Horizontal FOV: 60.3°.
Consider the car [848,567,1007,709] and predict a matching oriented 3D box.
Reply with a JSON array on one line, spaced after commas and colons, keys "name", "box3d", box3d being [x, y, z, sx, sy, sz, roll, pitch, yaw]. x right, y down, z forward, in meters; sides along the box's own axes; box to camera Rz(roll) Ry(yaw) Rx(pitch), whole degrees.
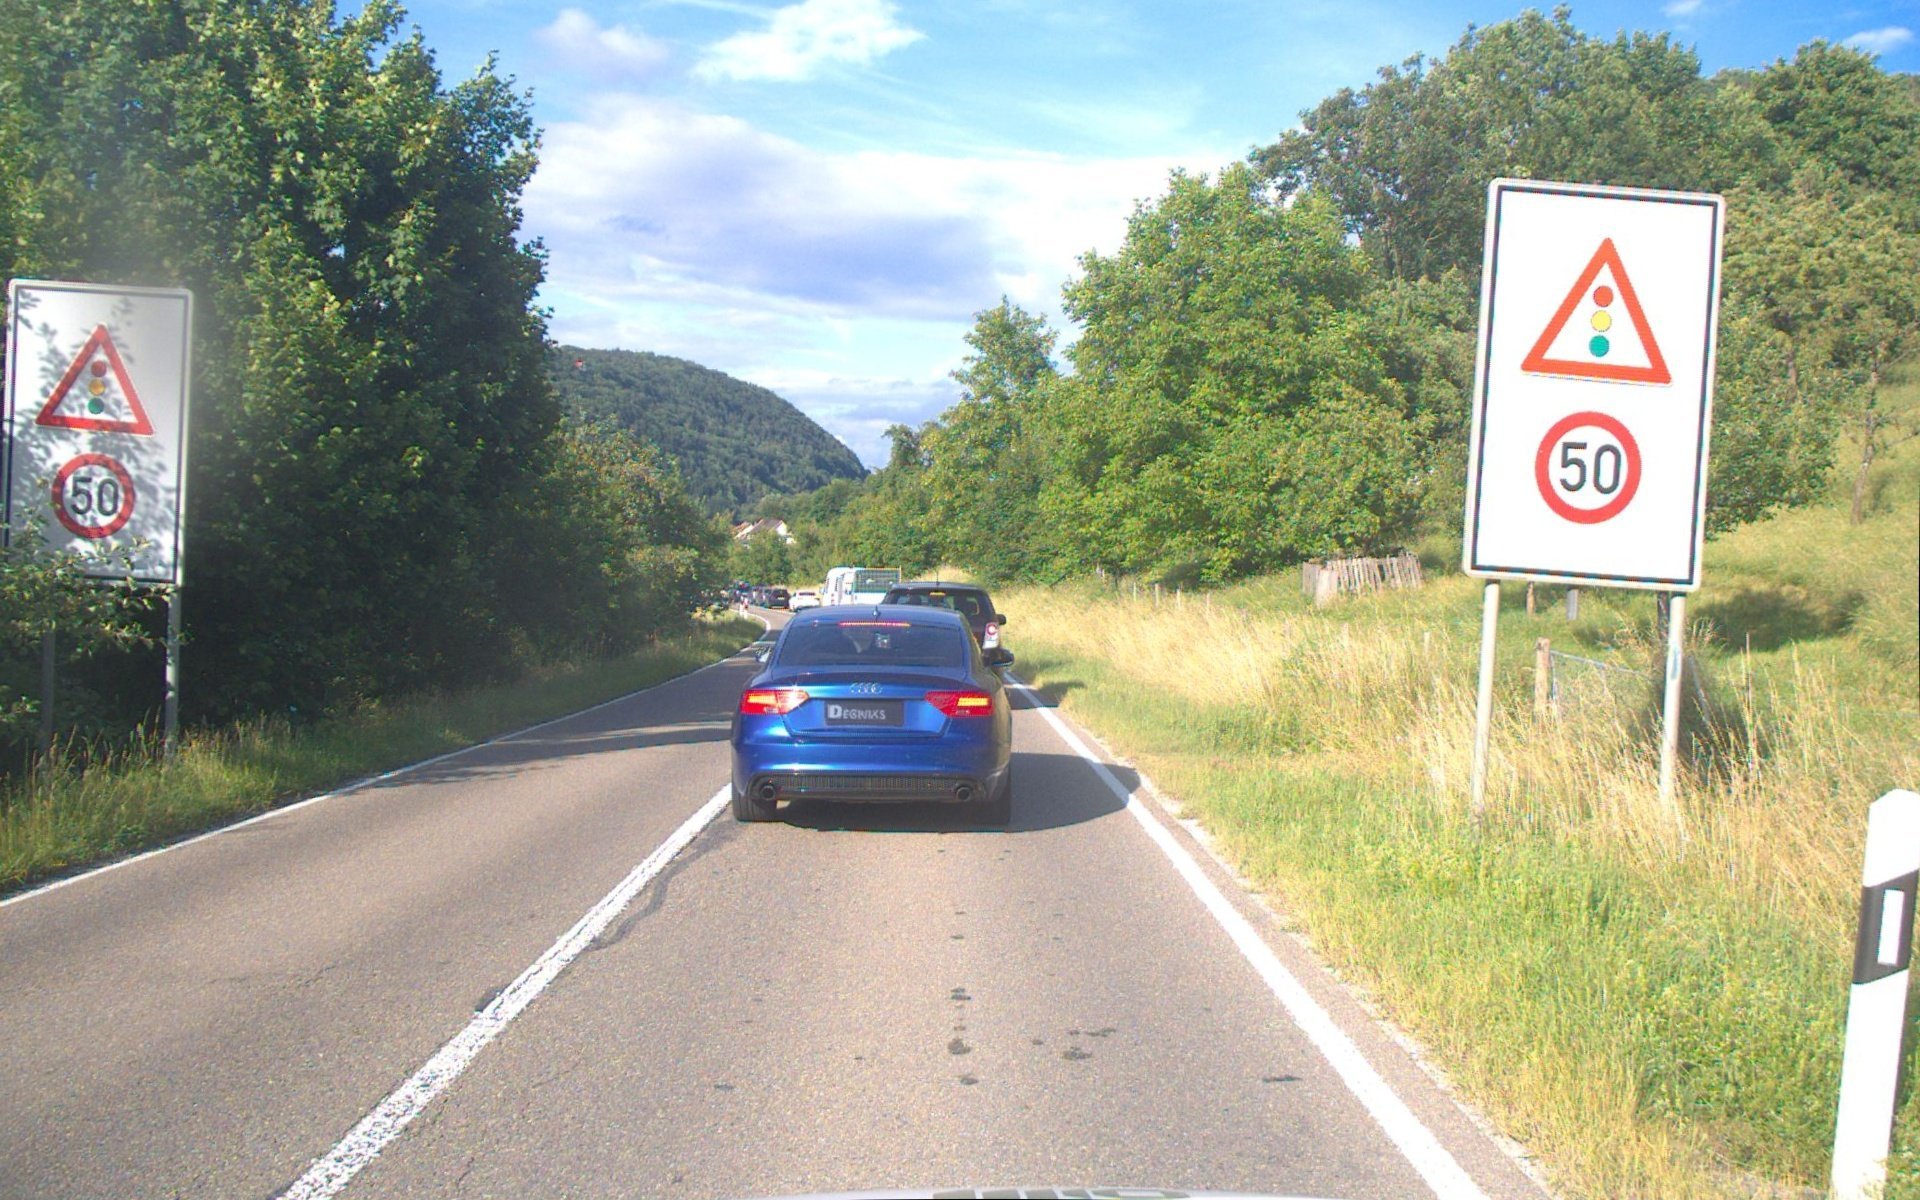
[{"name": "car", "box3d": [-0.439, 0.484, 22.615, 1.953, 1.732, 3.999, 1, 0, -1]}]

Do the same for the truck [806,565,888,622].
[{"name": "truck", "box3d": [-5.984, -0.344, 85.635, 2.814, 2.712, 10.613, 1, 0, -12]}]

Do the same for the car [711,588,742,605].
[{"name": "car", "box3d": [-22.197, -0.338, 156.942, 1.967, 1.508, 3.971, 1, 0, -23]}]

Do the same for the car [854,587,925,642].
[{"name": "car", "box3d": [-2.016, 0.411, 48.382, 1.953, 1.508, 3.999, 1, 0, -1]}]

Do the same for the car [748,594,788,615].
[{"name": "car", "box3d": [-14.149, 0.316, 121.948, 1.965, 1.508, 3.974, 1, 0, -21]}]

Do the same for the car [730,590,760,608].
[{"name": "car", "box3d": [-18.916, -0.055, 145.126, 1.962, 1.508, 3.981, 1, 0, -17]}]

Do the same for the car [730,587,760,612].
[{"name": "car", "box3d": [-18.138, -0.078, 139.678, 1.961, 2.049, 3.983, 1, 0, -16]}]

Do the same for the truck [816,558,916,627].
[{"name": "truck", "box3d": [-4.209, -0.321, 71.685, 2.814, 2.712, 10.362, 1, 0, -12]}]

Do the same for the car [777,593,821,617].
[{"name": "car", "box3d": [-10.735, 0.319, 110.053, 1.965, 1.508, 3.974, 1, 0, -21]}]

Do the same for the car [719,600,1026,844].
[{"name": "car", "box3d": [-0.512, 0.716, 11.594, 1.757, 1.383, 4.000, 1, 0, 0]}]
